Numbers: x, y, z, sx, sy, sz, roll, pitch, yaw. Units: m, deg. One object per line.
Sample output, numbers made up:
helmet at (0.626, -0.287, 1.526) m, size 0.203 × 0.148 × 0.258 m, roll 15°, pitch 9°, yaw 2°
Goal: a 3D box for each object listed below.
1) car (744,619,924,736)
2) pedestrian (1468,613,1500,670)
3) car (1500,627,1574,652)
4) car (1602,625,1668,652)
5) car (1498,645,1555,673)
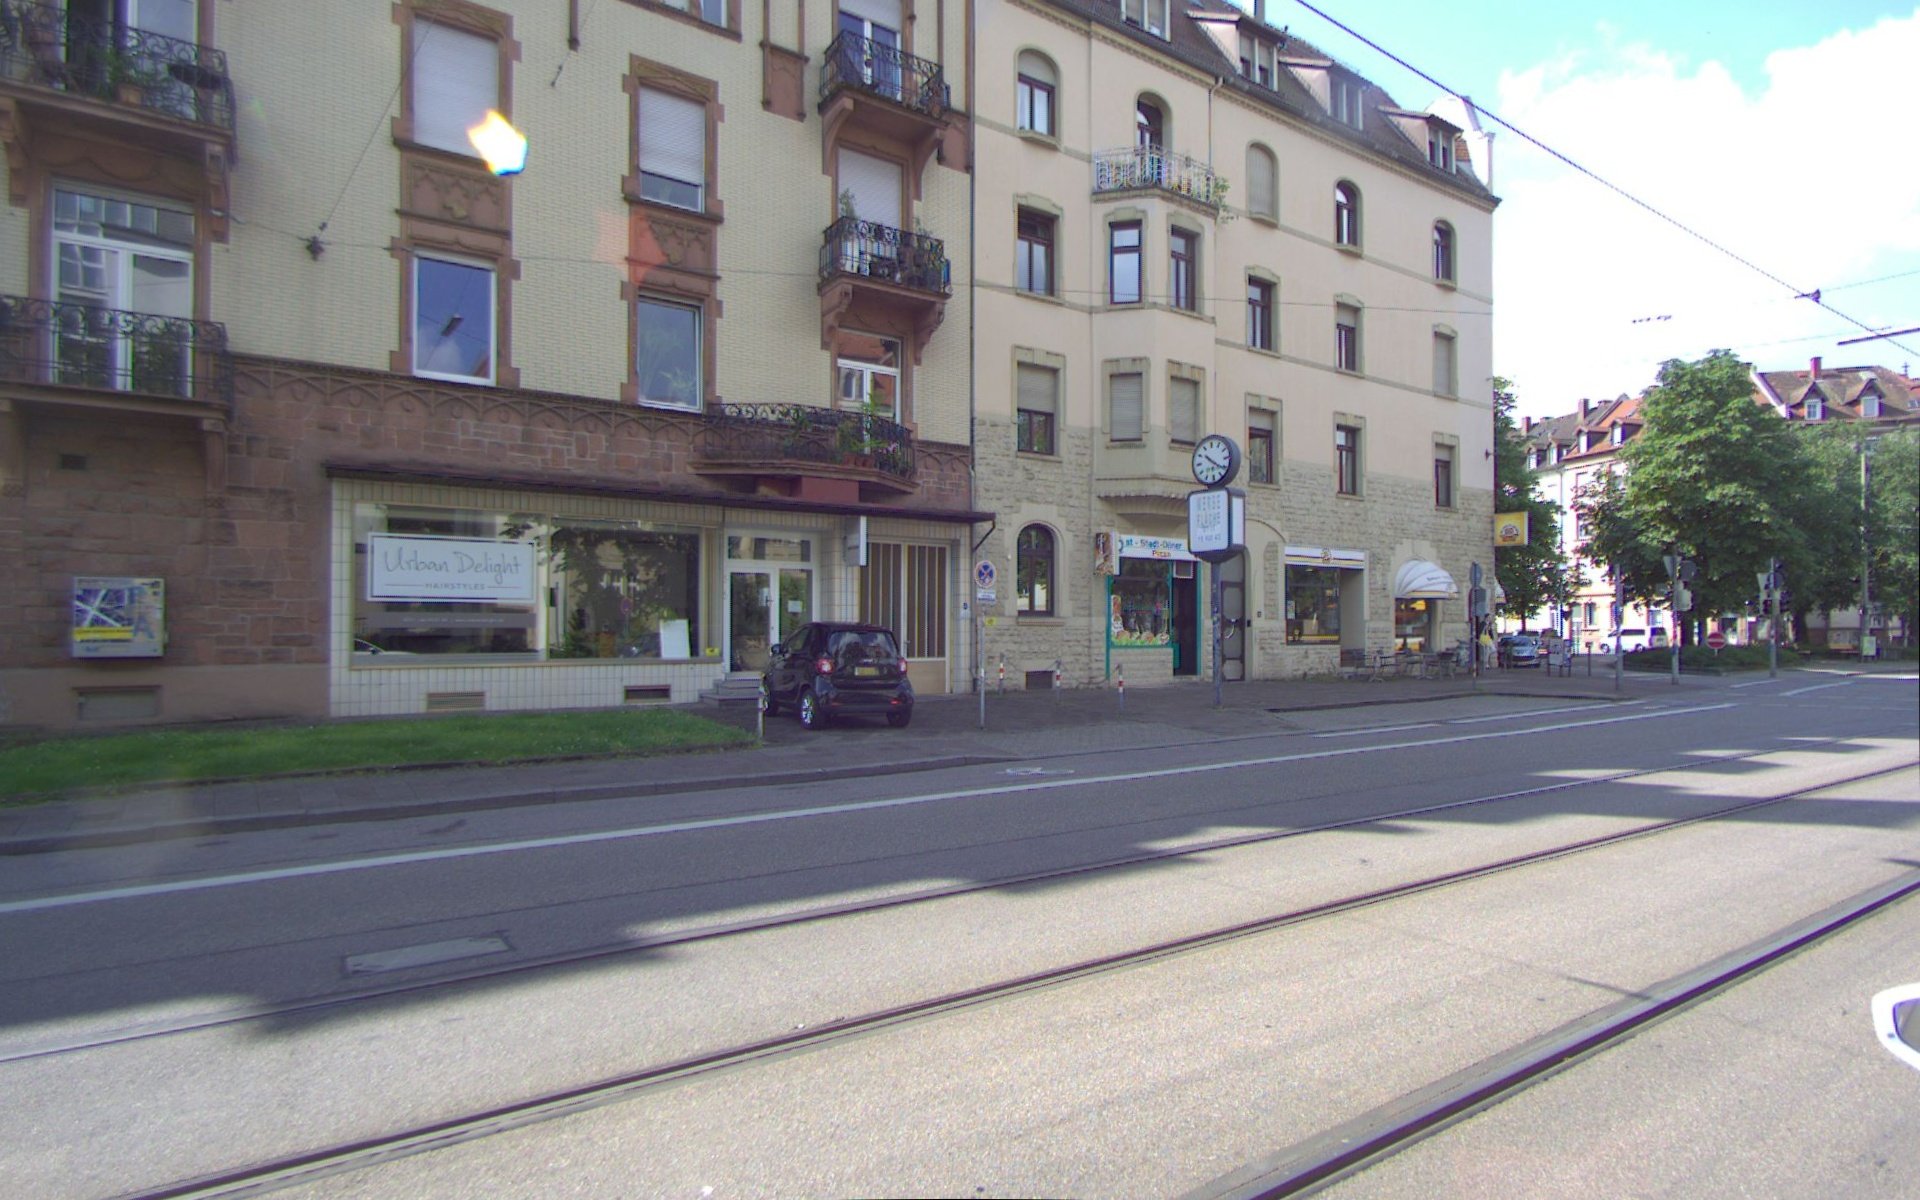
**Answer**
car at (-2.070, 1.121, 15.837) m, size 1.716 × 1.505 × 3.162 m, roll 1°, pitch 1°, yaw -30°
pedestrian at (16.674, 1.320, 31.977) m, size 0.796 × 1.777 × 0.676 m, roll 1°, pitch -2°, yaw -43°
car at (39.558, 2.691, 68.982) m, size 1.976 × 1.617 × 3.970 m, roll 1°, pitch -2°, yaw -29°
car at (50.033, 2.864, 74.566) m, size 1.962 × 1.929 × 3.997 m, roll 0°, pitch -2°, yaw -5°
car at (26.450, 2.717, 46.996) m, size 1.645 × 1.198 × 4.000 m, roll 0°, pitch -2°, yaw 20°
